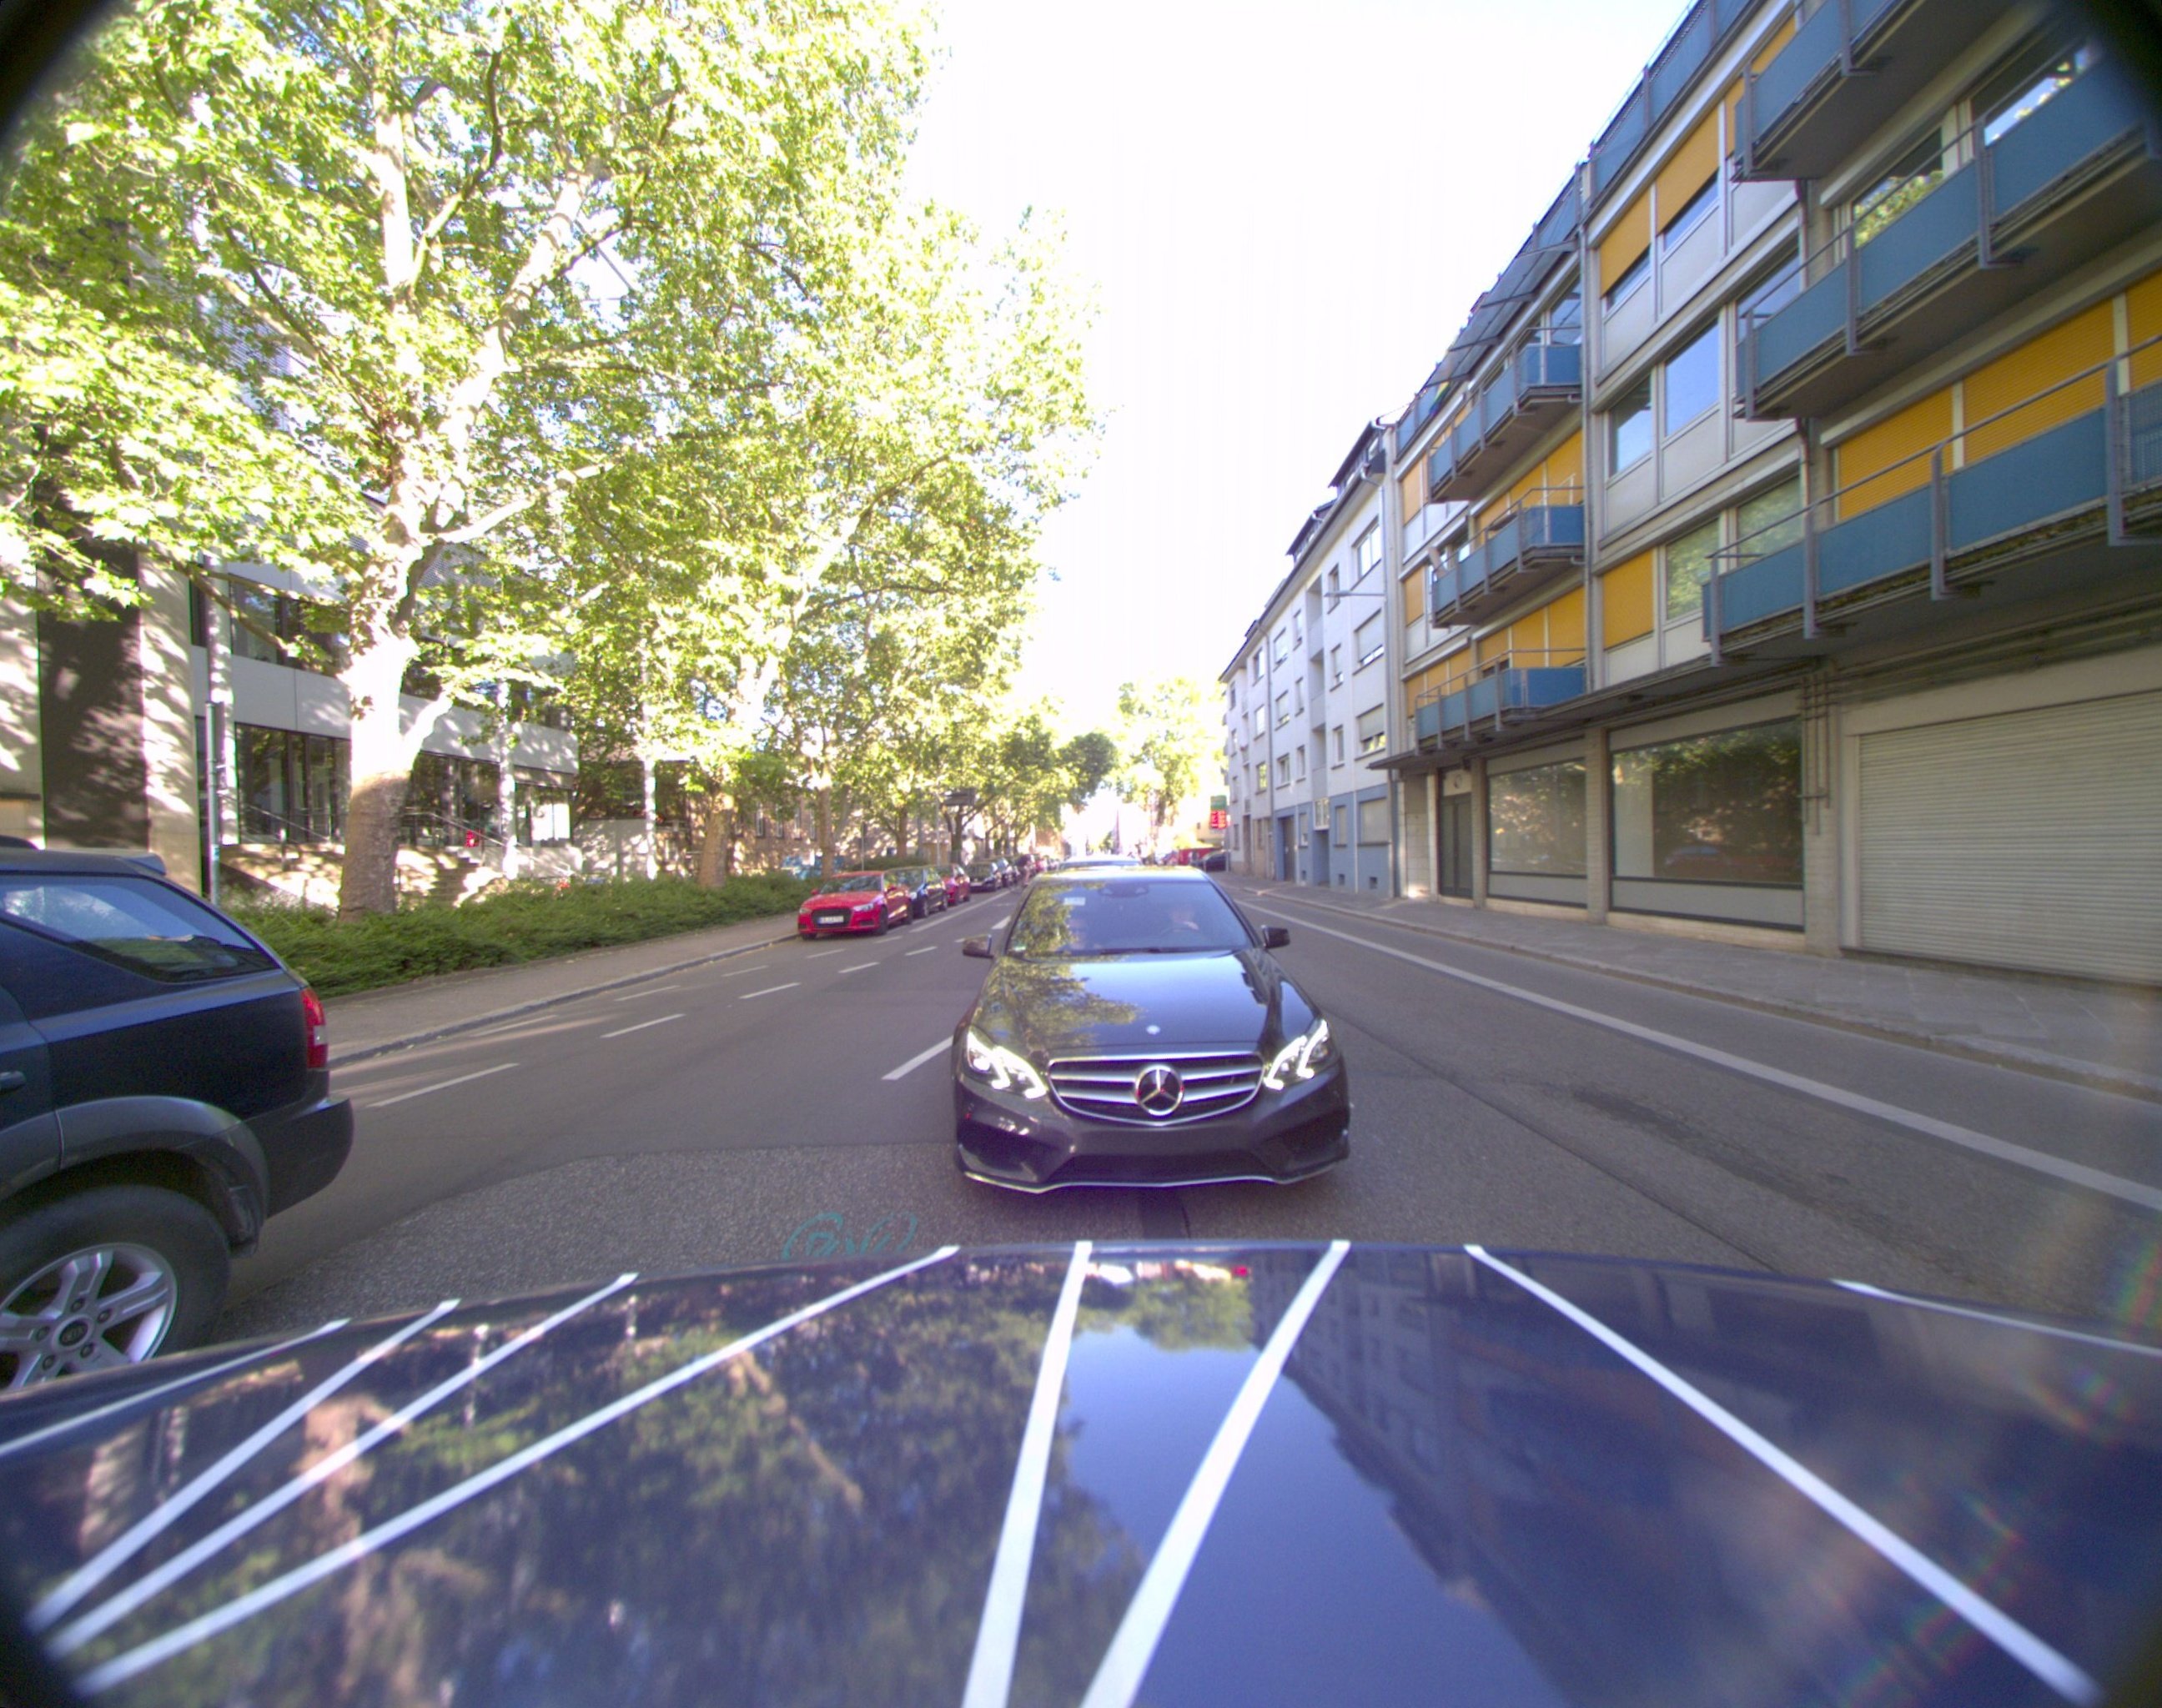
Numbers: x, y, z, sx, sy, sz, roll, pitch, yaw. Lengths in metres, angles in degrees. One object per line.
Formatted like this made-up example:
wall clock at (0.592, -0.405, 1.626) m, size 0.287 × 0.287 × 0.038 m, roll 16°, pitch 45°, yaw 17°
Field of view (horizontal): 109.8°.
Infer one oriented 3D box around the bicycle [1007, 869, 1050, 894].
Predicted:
bicycle at (-2.361, 1.211, 34.095) m, size 1.801 × 1.009 × 0.733 m, roll -2°, pitch 1°, yaw -18°

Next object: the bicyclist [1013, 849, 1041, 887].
bicyclist at (-2.419, 0.620, 34.056) m, size 1.038 × 1.610 × 0.697 m, roll -2°, pitch 1°, yaw -19°

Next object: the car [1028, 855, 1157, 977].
car at (0.187, 0.847, 12.564) m, size 1.646 × 1.520 × 4.619 m, roll -4°, pitch 0°, yaw 1°

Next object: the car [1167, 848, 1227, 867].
car at (10.155, 0.286, 66.702) m, size 4.990 × 1.486 × 2.000 m, roll -2°, pitch 0°, yaw 1°

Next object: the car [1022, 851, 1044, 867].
car at (-4.389, 0.437, 70.445) m, size 1.741 × 1.469 × 4.091 m, roll -2°, pitch 0°, yaw 0°

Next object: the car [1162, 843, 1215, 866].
car at (10.908, 0.027, 77.340) m, size 4.991 × 2.181 × 2.000 m, roll -2°, pitch 1°, yaw 1°

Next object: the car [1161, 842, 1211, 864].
car at (11.028, -0.100, 80.191) m, size 4.991 × 2.181 × 2.000 m, roll -2°, pitch 1°, yaw 1°

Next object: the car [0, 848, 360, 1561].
car at (-3.620, 0.921, 0.595) m, size 1.785 × 1.760 × 4.384 m, roll -3°, pitch 0°, yaw 1°

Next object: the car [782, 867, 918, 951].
car at (-5.192, 1.173, 17.691) m, size 1.830 × 1.519 × 4.142 m, roll -4°, pitch 0°, yaw 0°

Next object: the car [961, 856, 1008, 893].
car at (-4.711, 0.969, 37.507) m, size 1.741 × 1.622 × 4.091 m, roll -2°, pitch 0°, yaw 0°

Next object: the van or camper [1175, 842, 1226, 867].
van or camper at (10.054, 0.025, 64.199) m, size 3.997 × 2.002 × 2.000 m, roll -2°, pitch 1°, yaw 0°

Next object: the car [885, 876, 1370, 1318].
car at (0.169, 0.950, 4.724) m, size 1.740 × 1.448 × 3.864 m, roll -2°, pitch 0°, yaw 0°

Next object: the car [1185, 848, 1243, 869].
car at (10.309, 0.325, 58.962) m, size 4.146 × 1.486 × 2.000 m, roll -2°, pitch 0°, yaw 1°

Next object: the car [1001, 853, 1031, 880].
car at (-4.616, 0.868, 54.557) m, size 1.741 × 1.785 × 3.895 m, roll -2°, pitch 0°, yaw 0°

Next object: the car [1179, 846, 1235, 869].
car at (10.132, 0.270, 61.292) m, size 4.146 × 1.681 × 2.000 m, roll -2°, pitch 0°, yaw 1°

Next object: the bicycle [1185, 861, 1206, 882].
bicycle at (6.262, 0.927, 41.652) m, size 0.865 × 1.072 × 1.836 m, roll -2°, pitch 0°, yaw 1°

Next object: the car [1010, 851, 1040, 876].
car at (-4.372, 0.724, 59.741) m, size 1.992 × 1.795 × 4.376 m, roll -2°, pitch 0°, yaw 0°

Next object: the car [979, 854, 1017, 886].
car at (-4.570, 0.861, 42.374) m, size 1.634 × 1.677 × 3.907 m, roll -2°, pitch 0°, yaw 0°

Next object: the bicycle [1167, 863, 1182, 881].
bicycle at (5.097, 0.991, 41.586) m, size 0.695 × 0.924 × 1.864 m, roll -2°, pitch 0°, yaw 4°

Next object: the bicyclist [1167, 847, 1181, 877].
bicyclist at (5.077, 0.428, 41.652) m, size 0.686 × 1.569 × 0.982 m, roll -2°, pitch 1°, yaw 4°

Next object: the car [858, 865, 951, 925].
car at (-5.103, 1.138, 22.546) m, size 1.741 × 1.444 × 4.091 m, roll -4°, pitch 0°, yaw 0°

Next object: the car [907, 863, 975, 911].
car at (-4.998, 1.134, 27.669) m, size 1.681 × 1.484 × 3.918 m, roll -4°, pitch 0°, yaw 0°

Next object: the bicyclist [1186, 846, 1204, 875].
bicyclist at (6.249, 0.371, 41.677) m, size 0.844 × 1.546 × 0.839 m, roll -2°, pitch 1°, yaw 1°

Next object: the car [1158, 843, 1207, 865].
car at (11.031, -0.007, 82.823) m, size 4.991 × 2.181 × 2.000 m, roll -2°, pitch 1°, yaw 1°
